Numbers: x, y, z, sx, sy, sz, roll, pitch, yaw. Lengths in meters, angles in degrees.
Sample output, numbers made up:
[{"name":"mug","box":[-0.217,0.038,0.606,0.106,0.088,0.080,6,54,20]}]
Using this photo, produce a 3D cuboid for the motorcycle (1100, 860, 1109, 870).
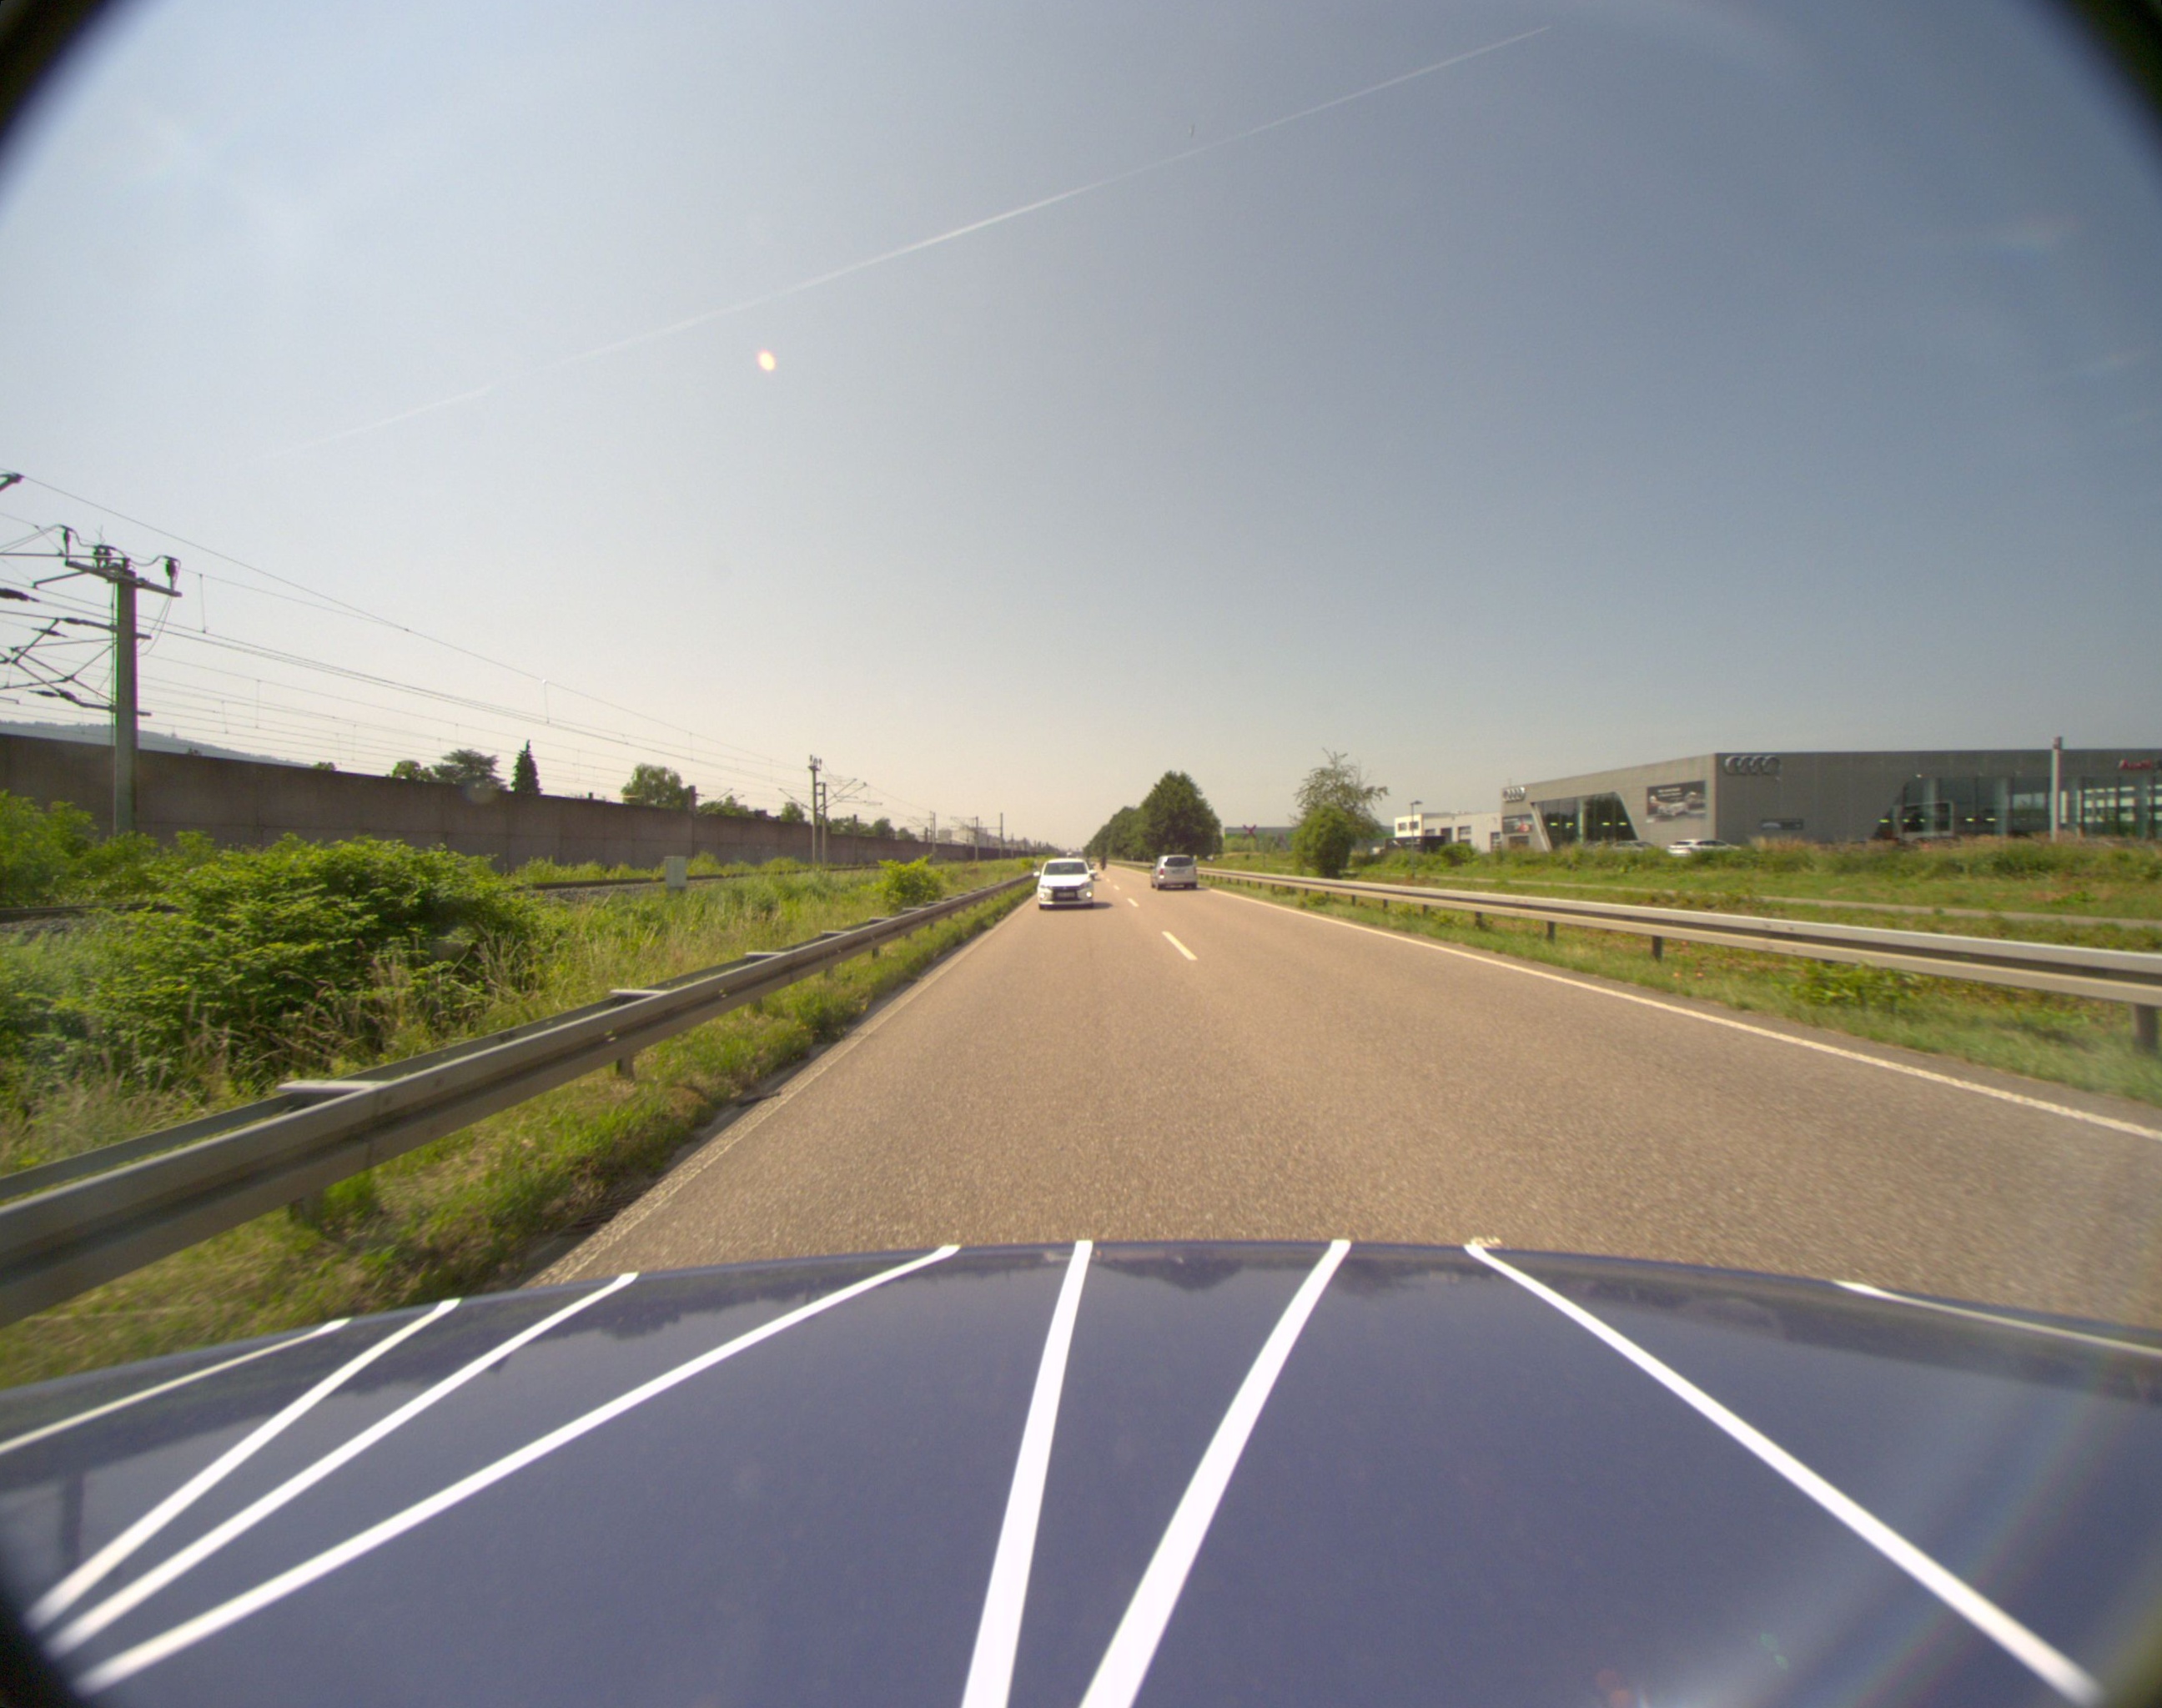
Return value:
[{"name":"motorcycle","box":[2.497,1.179,81.417,0.930,1.022,2.268,-2,0,1]}]

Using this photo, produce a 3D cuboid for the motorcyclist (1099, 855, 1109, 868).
[{"name":"motorcyclist","box":[2.470,0.817,81.350,0.996,1.302,0.935,-2,1,0]}]

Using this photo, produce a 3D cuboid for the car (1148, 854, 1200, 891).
[{"name":"car","box":[4.033,0.768,33.635,1.702,1.466,4.686,-2,0,1]}]

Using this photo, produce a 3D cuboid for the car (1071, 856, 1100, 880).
[{"name":"car","box":[0.273,0.874,49.110,1.711,1.470,4.154,-1,0,-1]}]

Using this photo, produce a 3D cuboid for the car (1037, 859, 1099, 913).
[{"name":"car","box":[-0.405,0.918,23.580,1.701,1.470,4.154,-1,0,-1]}]

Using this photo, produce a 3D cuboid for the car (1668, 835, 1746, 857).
[{"name":"car","box":[43.211,-0.565,52.471,4.239,1.428,1.623,1,0,-6]}]
